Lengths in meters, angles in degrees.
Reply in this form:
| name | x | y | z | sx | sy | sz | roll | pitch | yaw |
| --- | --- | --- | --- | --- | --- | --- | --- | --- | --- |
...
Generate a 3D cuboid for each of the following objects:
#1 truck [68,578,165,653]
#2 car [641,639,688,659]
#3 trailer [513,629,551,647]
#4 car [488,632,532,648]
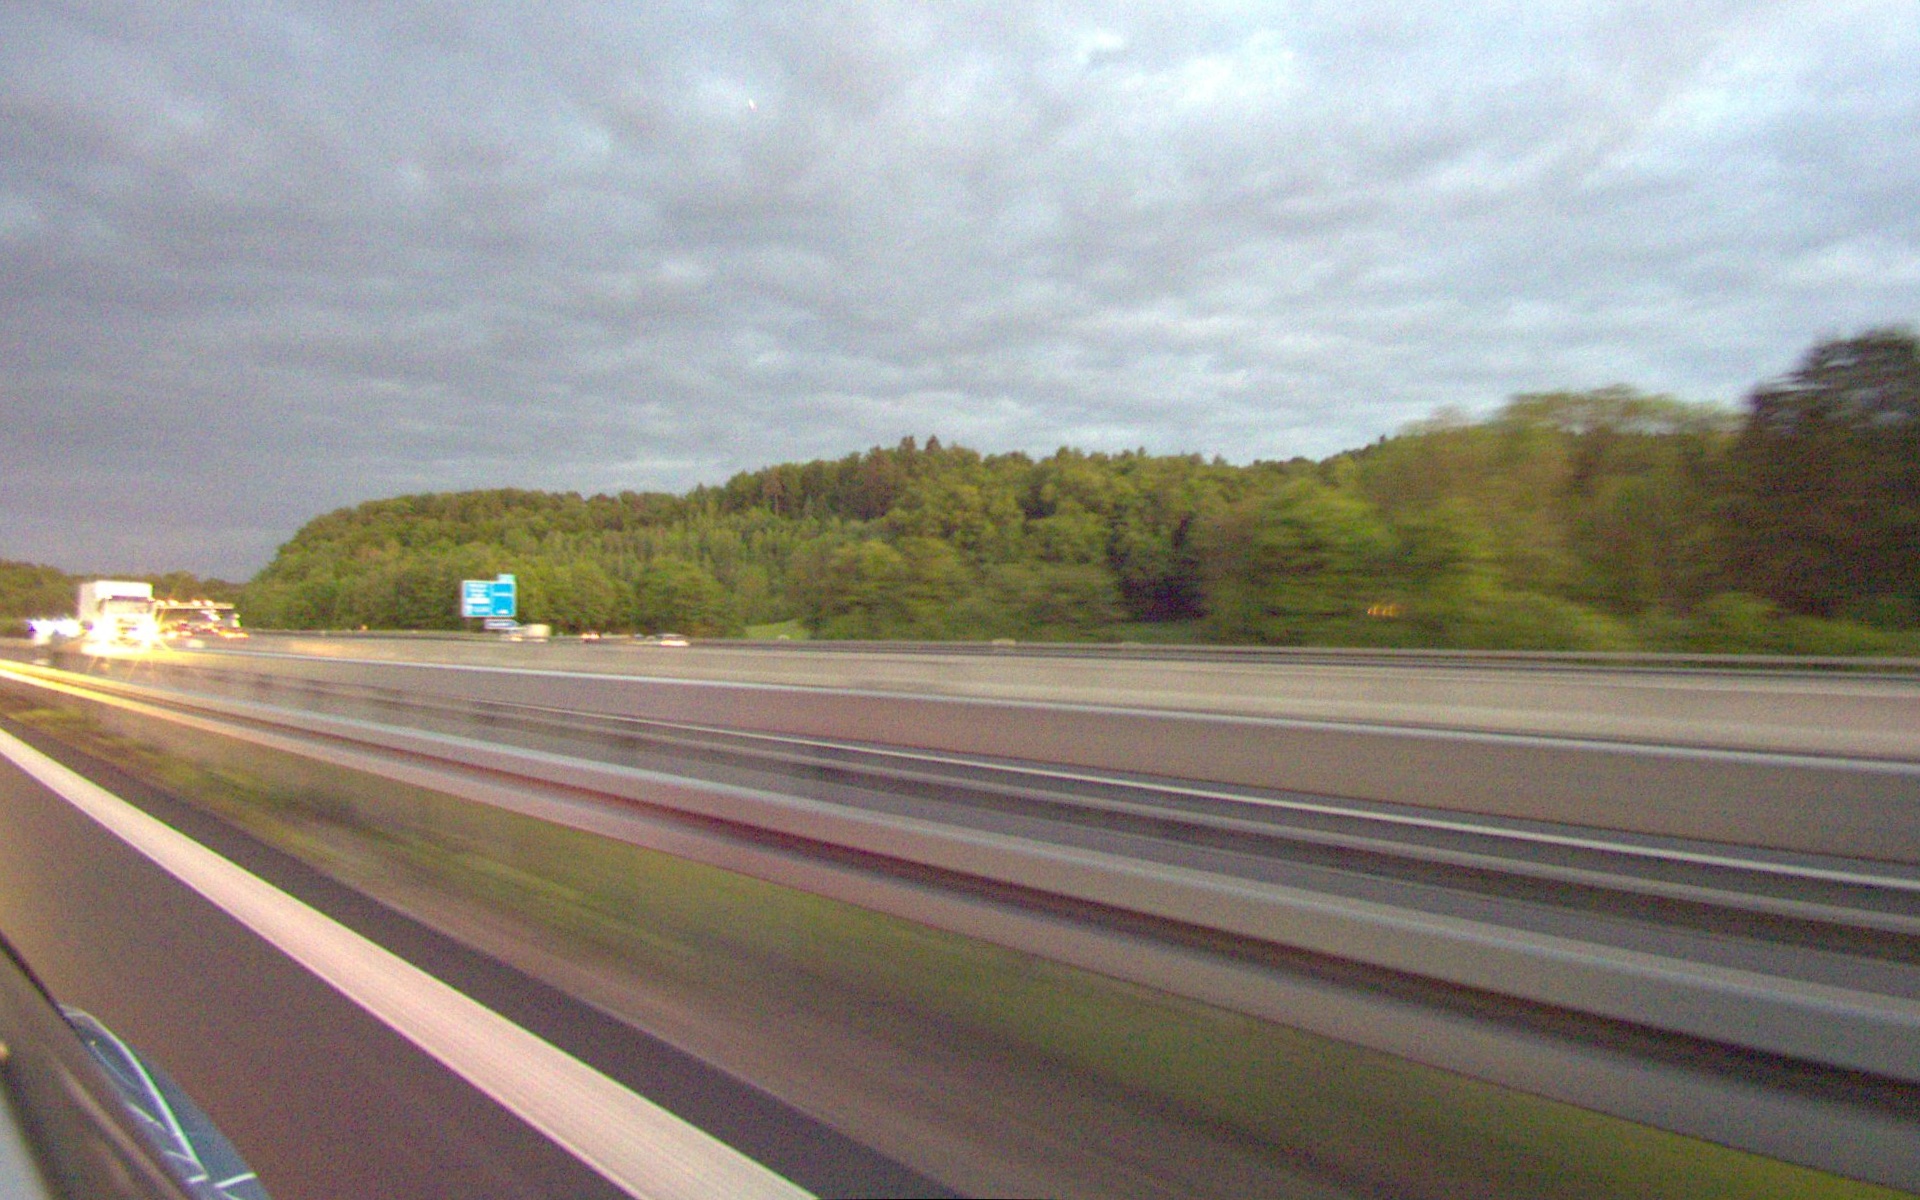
| name | x | y | z | sx | sy | sz | roll | pitch | yaw |
| --- | --- | --- | --- | --- | --- | --- | --- | --- | --- |
| truck | -52.251 | 0.986 | 62.561 | 9.886 | 4.334 | 3.006 | -1 | -2 | 41 |
| car | -24.700 | 4.040 | 84.598 | 4.307 | 1.608 | 1.748 | -1 | -2 | 41 |
| trailer | -38.252 | 3.385 | 90.420 | 3.595 | 1.608 | 1.520 | -1 | -2 | 39 |
| car | -41.371 | 3.666 | 92.977 | 4.461 | 1.454 | 1.818 | -1 | -2 | 39 |
